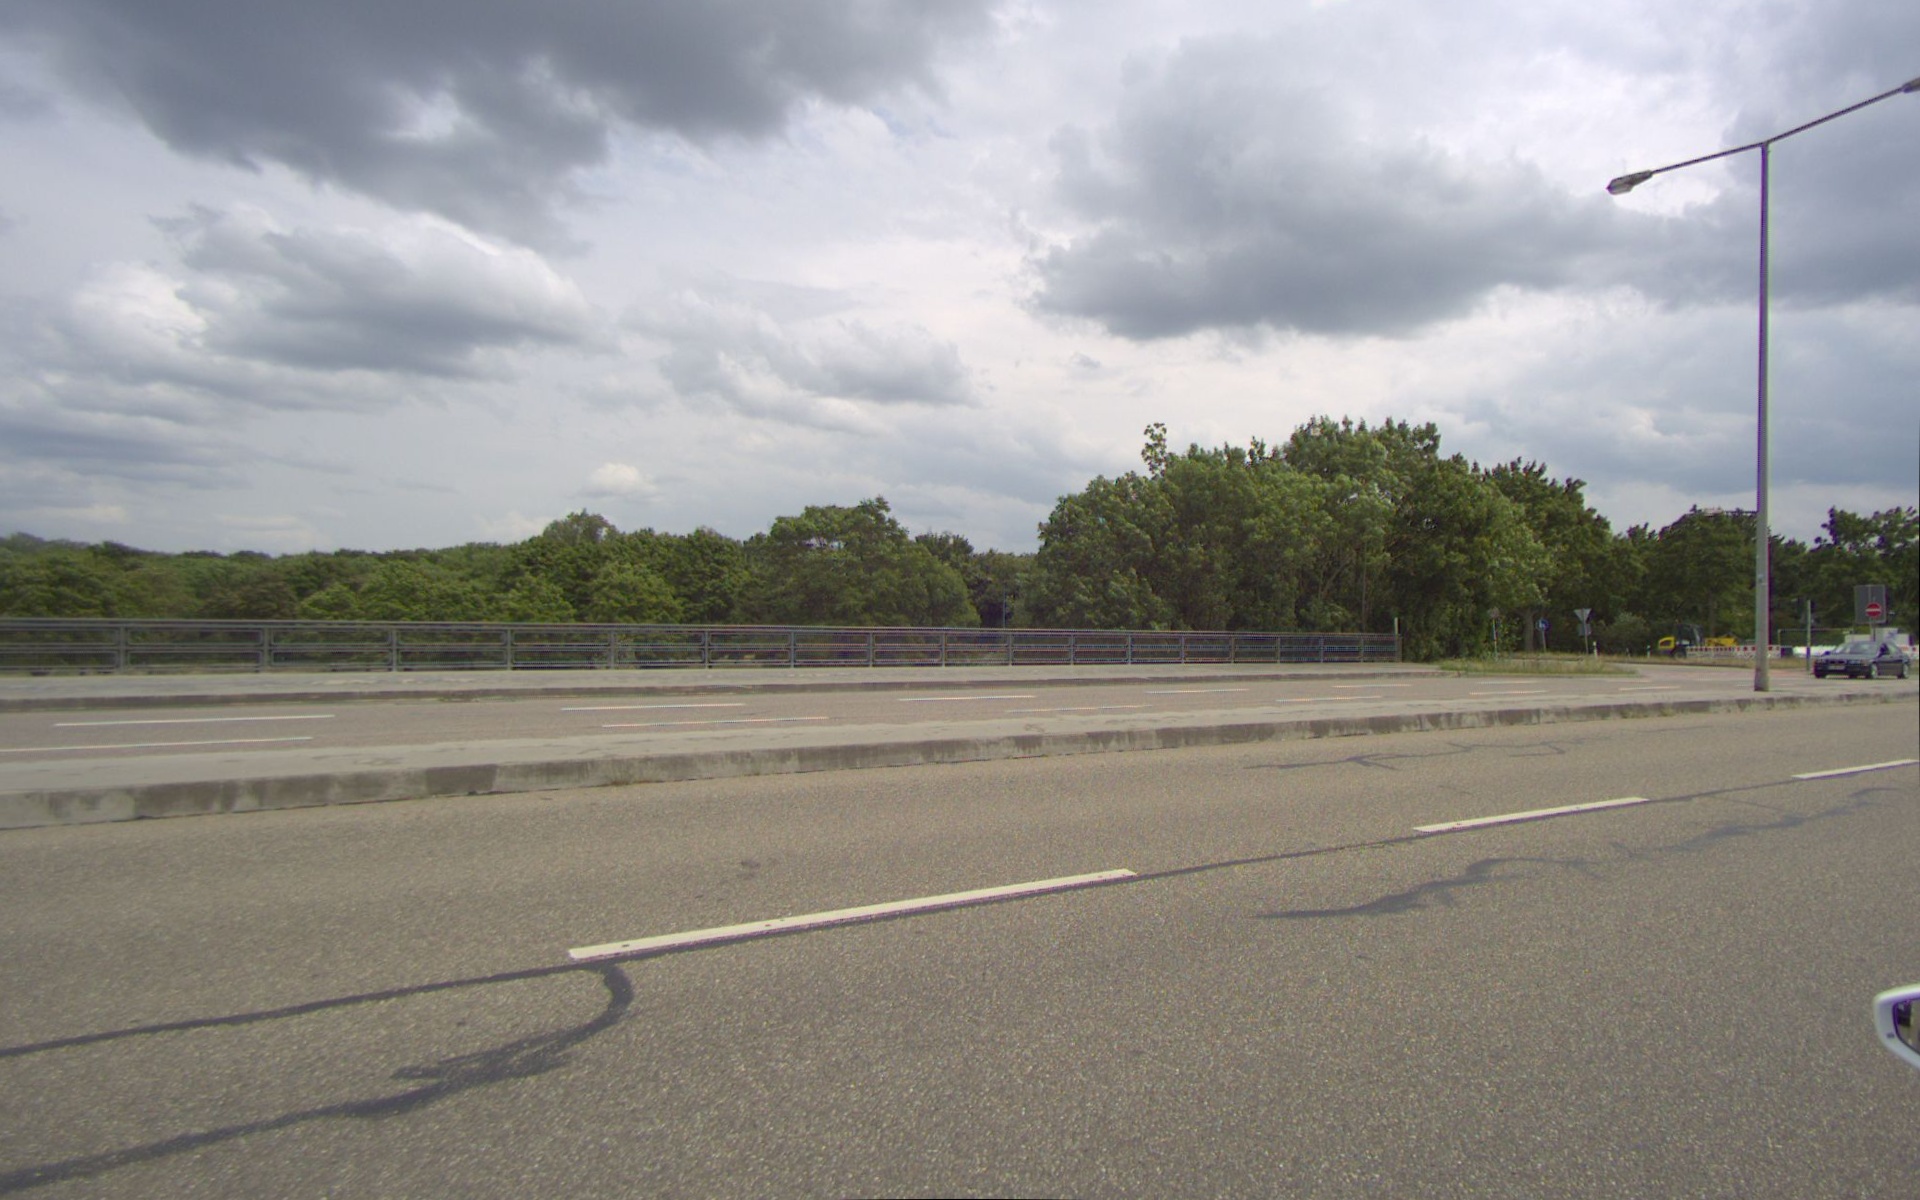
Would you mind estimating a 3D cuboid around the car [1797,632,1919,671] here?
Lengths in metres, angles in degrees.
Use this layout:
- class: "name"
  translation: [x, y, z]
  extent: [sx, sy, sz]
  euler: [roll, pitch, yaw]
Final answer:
- class: "car"
  translation: [33.746, 1.942, 37.678]
  extent: [4.518, 1.391, 1.987]
  euler: [2, -3, -27]

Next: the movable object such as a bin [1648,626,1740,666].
- class: "movable object such as a bin"
  translation: [48.072, 2.997, 65.863]
  extent: [1.984, 2.429, 4.538]
  euler: [0, 0, -41]
